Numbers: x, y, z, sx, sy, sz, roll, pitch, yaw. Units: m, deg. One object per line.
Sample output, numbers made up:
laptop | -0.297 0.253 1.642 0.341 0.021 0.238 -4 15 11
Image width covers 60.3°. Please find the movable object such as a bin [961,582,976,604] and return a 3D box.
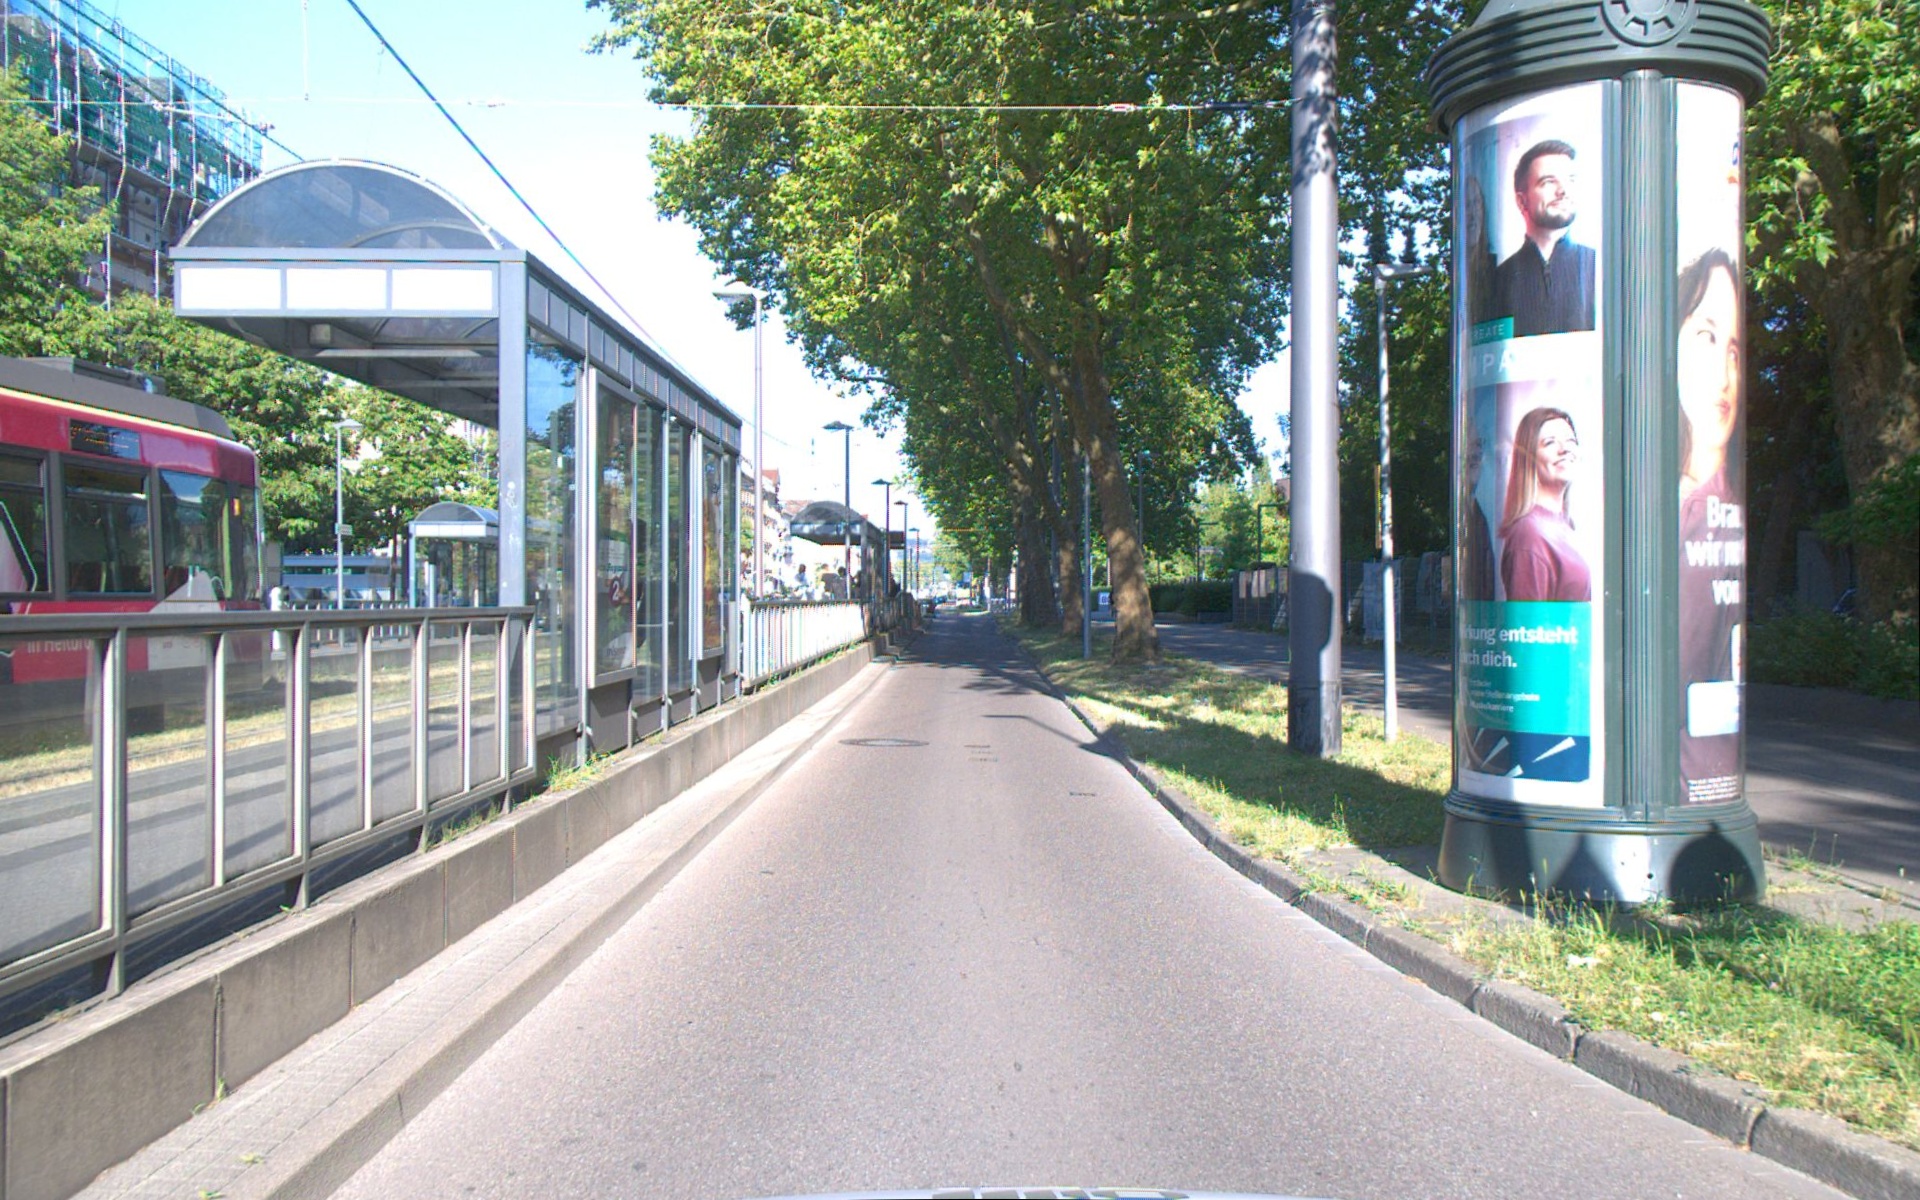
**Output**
movable object such as a bin | 1.203 -0.971 243.149 1.928 3.065 4.796 -3 0 -1

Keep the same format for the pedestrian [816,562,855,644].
pedestrian | -2.470 0.063 32.900 0.664 1.589 0.851 2 0 0

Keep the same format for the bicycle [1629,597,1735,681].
bicycle | 10.886 0.563 24.993 0.773 1.198 1.820 2 0 0

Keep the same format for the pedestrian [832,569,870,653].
pedestrian | -2.382 0.241 36.231 0.749 1.789 0.695 2 0 -1

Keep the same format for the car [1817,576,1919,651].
car | 19.924 0.289 34.372 1.954 1.478 3.997 2 0 -4

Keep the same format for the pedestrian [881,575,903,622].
pedestrian | -2.497 -0.051 60.742 0.741 1.719 0.678 2 0 0

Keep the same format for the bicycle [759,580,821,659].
bicycle | -2.617 0.294 25.604 0.722 1.153 2.030 2 0 0

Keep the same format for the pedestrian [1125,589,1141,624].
pedestrian | 8.403 0.319 80.395 0.636 1.685 0.783 -1 0 0

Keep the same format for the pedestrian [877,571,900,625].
pedestrian | -2.305 -0.067 53.618 0.665 1.719 0.894 2 0 0

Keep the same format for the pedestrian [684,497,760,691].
pedestrian | -2.569 -0.067 17.914 0.586 2.031 0.825 2 0 5

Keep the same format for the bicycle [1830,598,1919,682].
bicycle | 13.931 0.580 24.800 0.773 1.198 1.820 2 0 0

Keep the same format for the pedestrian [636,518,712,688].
pedestrian | -3.168 0.027 18.382 0.586 1.831 0.825 2 0 5

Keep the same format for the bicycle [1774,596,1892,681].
bicycle | 13.065 0.554 24.810 0.773 1.198 1.820 2 0 0

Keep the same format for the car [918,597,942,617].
car | -2.593 0.591 142.353 1.953 1.713 4.000 2 0 0

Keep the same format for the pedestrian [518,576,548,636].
pedestrian | -12.374 0.166 47.915 0.665 1.719 0.654 2 0 -2

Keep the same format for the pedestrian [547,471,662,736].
pedestrian | -2.696 0.026 12.616 0.655 1.935 0.824 2 0 -1

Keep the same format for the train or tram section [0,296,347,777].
train or tram section | -8.885 -0.490 15.250 2.811 3.750 9.684 0 0 0

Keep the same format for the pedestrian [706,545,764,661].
pedestrian | -3.570 0.051 26.318 0.769 1.801 0.773 2 0 0

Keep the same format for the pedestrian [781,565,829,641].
pedestrian | -3.635 0.065 38.906 0.899 1.752 0.624 2 0 -34

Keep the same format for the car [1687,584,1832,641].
car | 22.393 0.336 46.506 1.954 1.478 3.997 2 0 -4

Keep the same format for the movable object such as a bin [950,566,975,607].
movable object such as a bin | 0.344 -1.794 220.982 3.024 5.177 8.890 -3 0 -1

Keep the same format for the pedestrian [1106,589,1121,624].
pedestrian | 7.449 0.322 80.475 0.615 1.685 0.740 -1 0 0

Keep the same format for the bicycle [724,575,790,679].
bicycle | -2.389 0.304 19.631 0.502 1.153 2.103 2 0 0
